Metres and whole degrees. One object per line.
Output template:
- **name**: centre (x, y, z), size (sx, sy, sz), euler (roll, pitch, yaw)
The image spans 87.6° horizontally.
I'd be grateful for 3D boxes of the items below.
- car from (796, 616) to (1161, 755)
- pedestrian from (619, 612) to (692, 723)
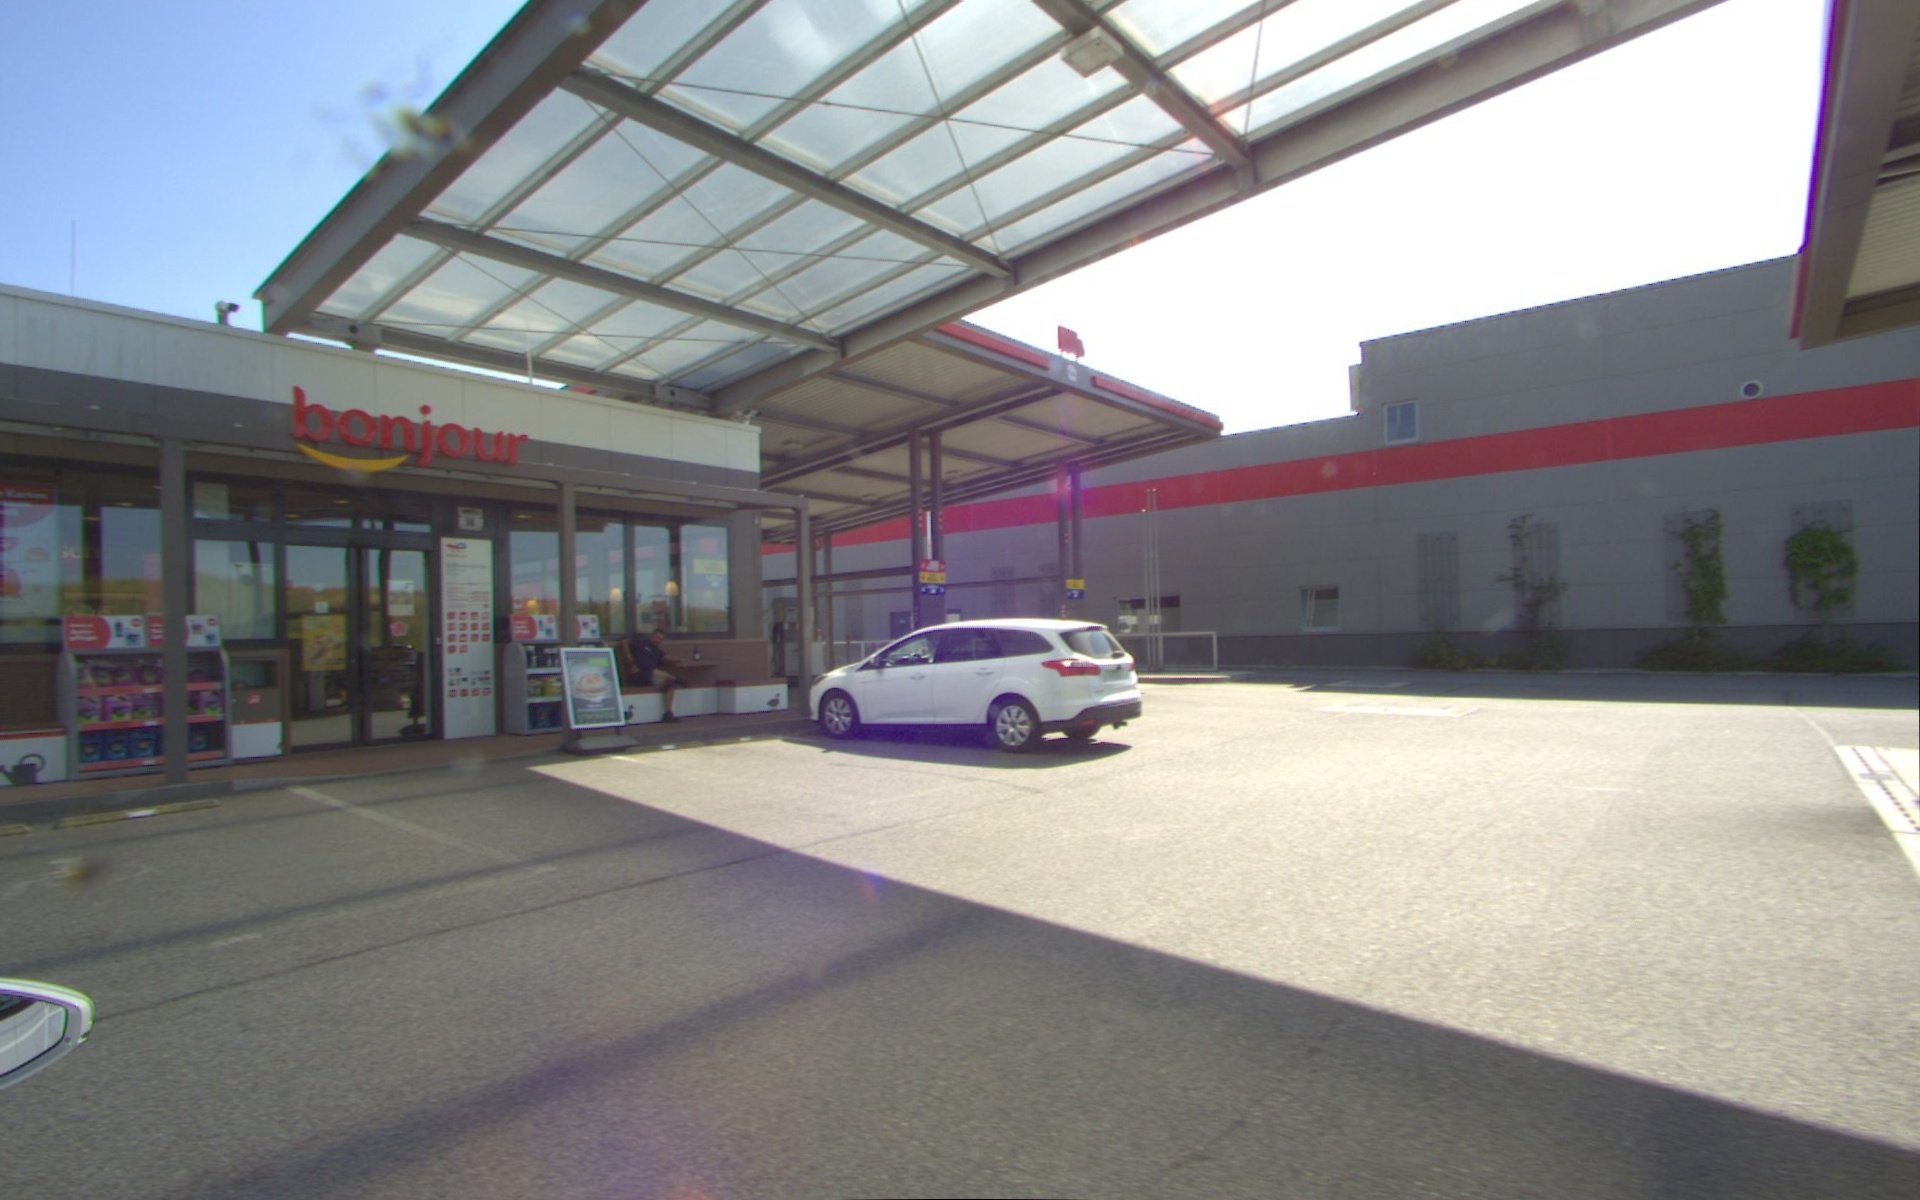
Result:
- **car**: centre (0.160, 0.968, 12.541), size (4.261, 1.475, 1.826), euler (-2, -1, 33)
- **pedestrian**: centre (-4.153, 0.900, 13.671), size (0.664, 1.450, 0.698), euler (-1, -1, 38)
